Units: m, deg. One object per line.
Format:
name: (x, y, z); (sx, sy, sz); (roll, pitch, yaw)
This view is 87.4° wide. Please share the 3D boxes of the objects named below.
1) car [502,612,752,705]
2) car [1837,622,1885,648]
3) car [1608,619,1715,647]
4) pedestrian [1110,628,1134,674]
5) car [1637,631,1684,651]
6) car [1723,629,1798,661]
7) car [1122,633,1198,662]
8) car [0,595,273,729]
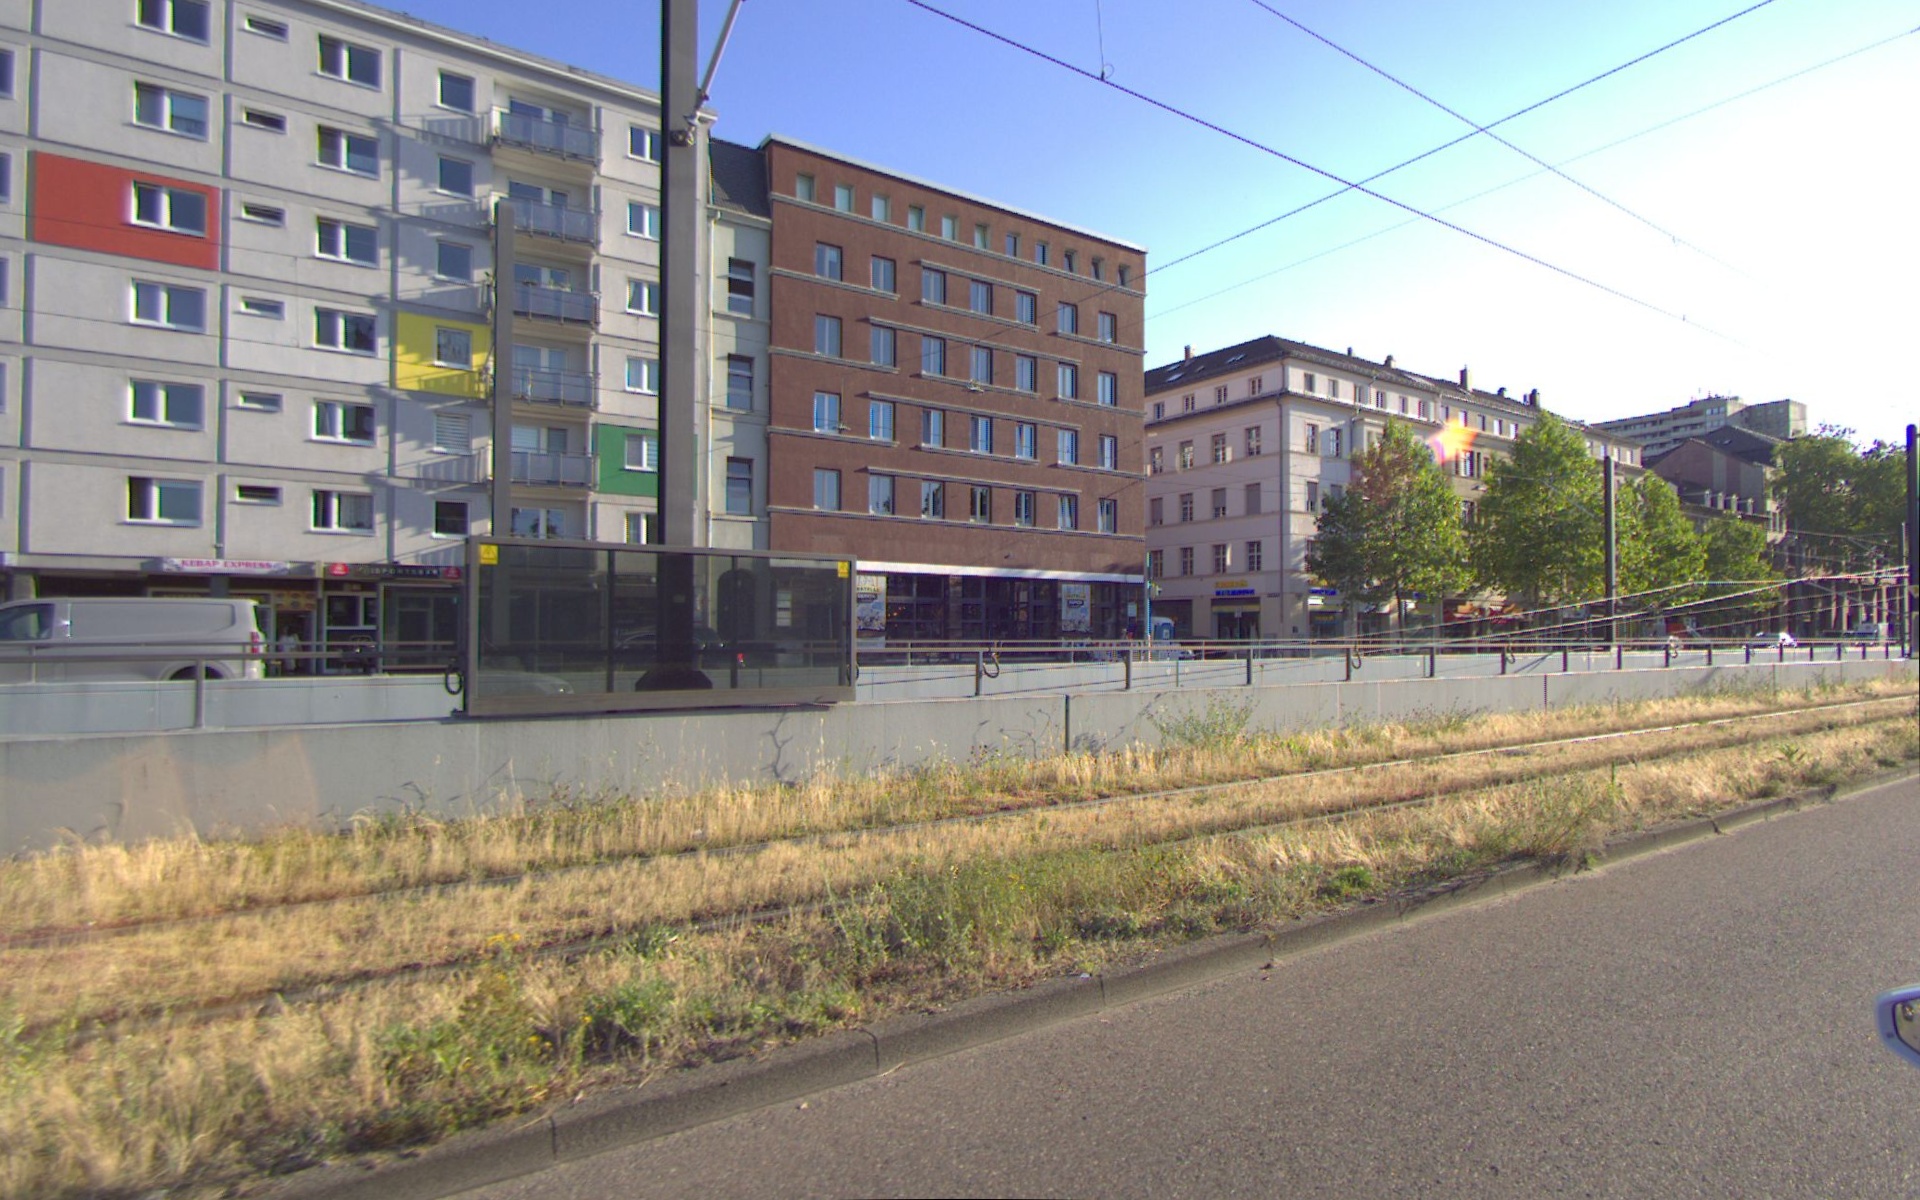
car: (-7.164, 1.191, 21.809); (4.841, 1.821, 1.982); (1, -2, -33)
car: (76.069, 2.949, 84.792); (4.525, 2.162, 1.941); (1, -2, -34)
car: (60.366, 2.870, 86.604); (2.449, 2.296, 7.211); (1, -2, -38)
pedestrian: (7.279, 2.283, 45.143); (0.764, 2.040, 0.694); (1, -1, -33)
car: (49.923, 2.913, 71.575); (3.670, 1.350, 1.446); (2, 0, -33)
car: (47.658, 2.661, 59.784); (4.924, 1.843, 1.983); (1, -2, -32)
car: (10.771, 2.542, 54.259); (1.877, 1.505, 3.967); (1, -2, -31)
car: (-14.388, 0.994, 16.820); (4.727, 2.040, 1.981); (1, -2, -35)
